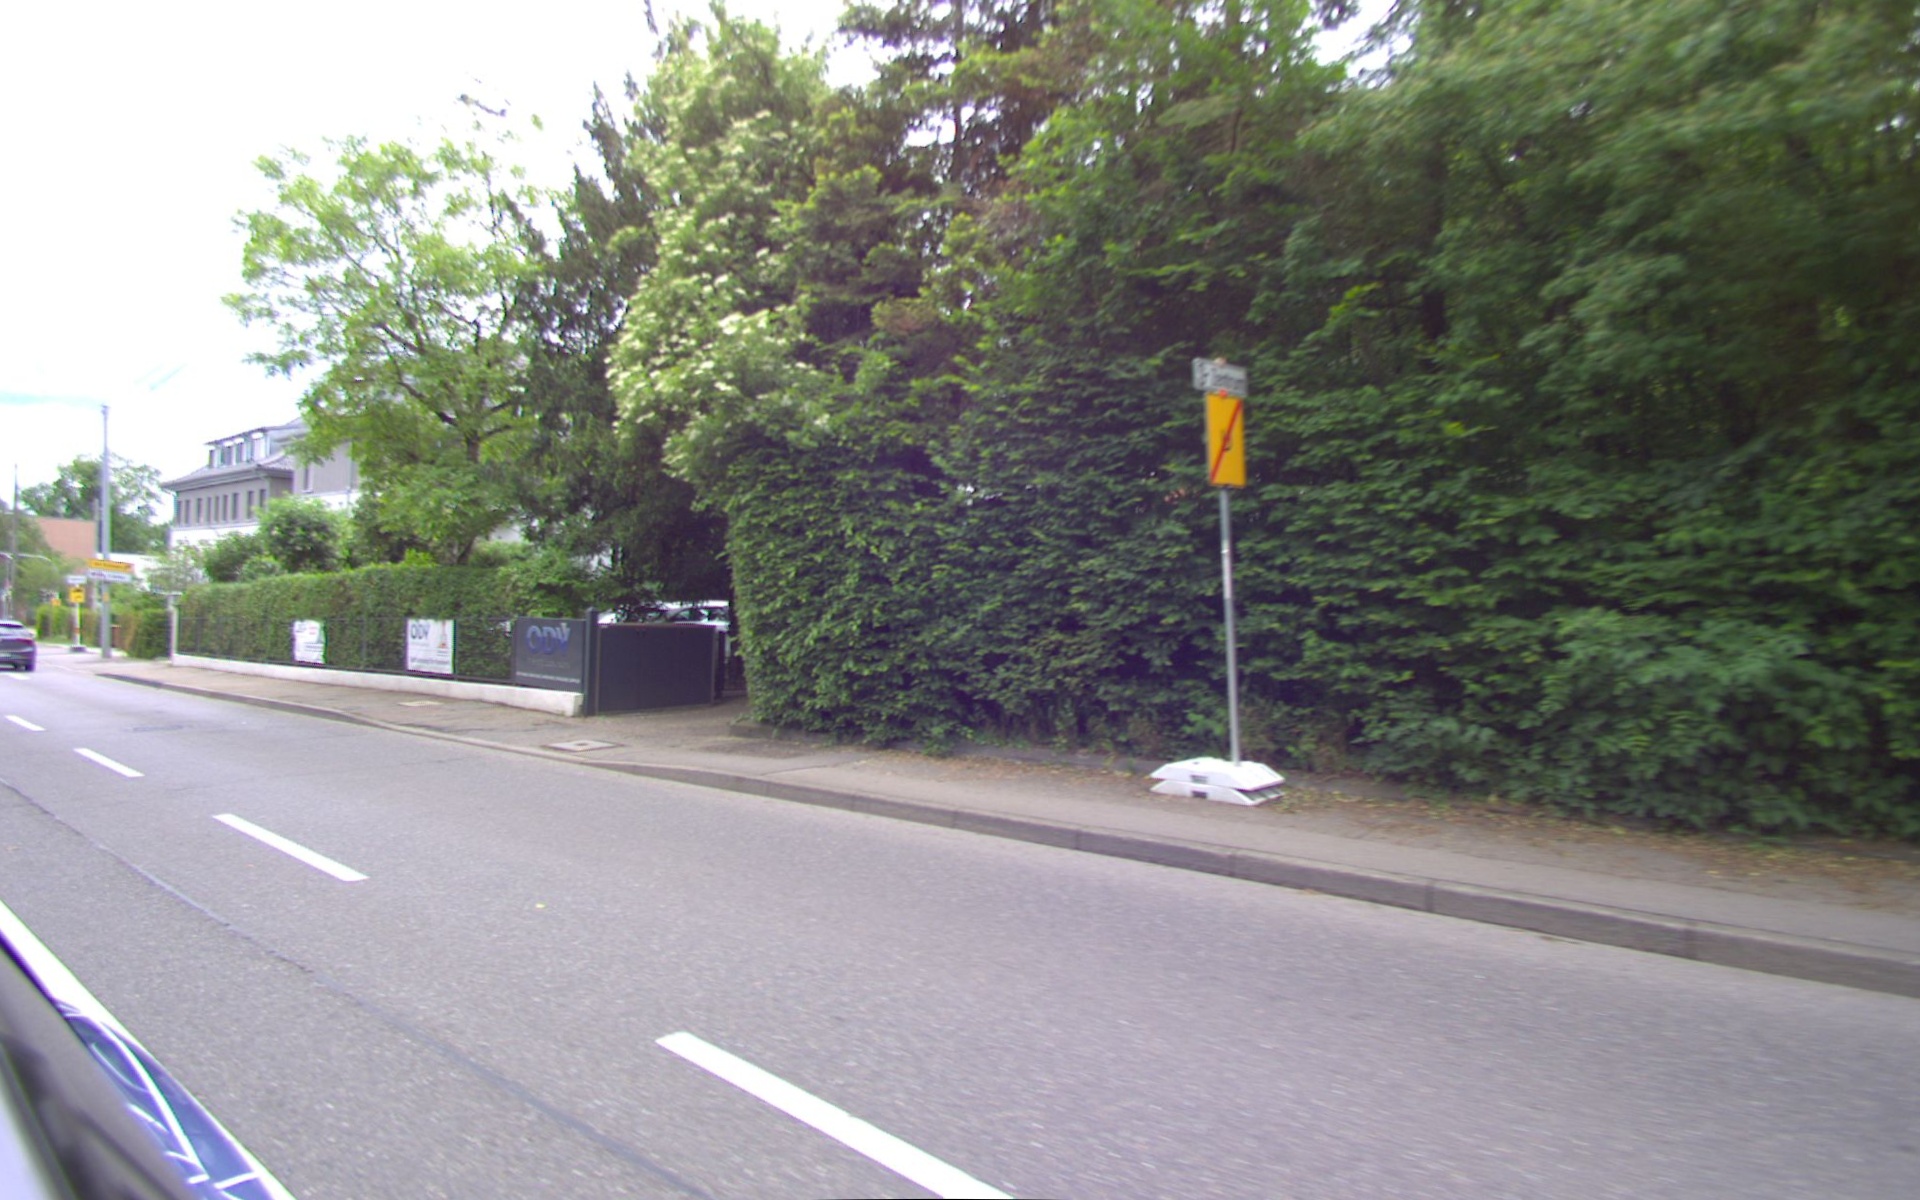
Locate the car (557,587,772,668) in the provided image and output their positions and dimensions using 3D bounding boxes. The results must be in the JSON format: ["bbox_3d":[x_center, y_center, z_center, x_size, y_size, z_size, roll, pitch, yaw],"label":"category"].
[{"bbox_3d":[-6.226,0.578,21.644,1.999,1.564,3.946,0,-1,40],"label":"car"}]

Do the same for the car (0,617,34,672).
[{"bbox_3d":[-27.849,1.264,28.904,4.016,1.482,1.663,-2,-1,42],"label":"car"}]
